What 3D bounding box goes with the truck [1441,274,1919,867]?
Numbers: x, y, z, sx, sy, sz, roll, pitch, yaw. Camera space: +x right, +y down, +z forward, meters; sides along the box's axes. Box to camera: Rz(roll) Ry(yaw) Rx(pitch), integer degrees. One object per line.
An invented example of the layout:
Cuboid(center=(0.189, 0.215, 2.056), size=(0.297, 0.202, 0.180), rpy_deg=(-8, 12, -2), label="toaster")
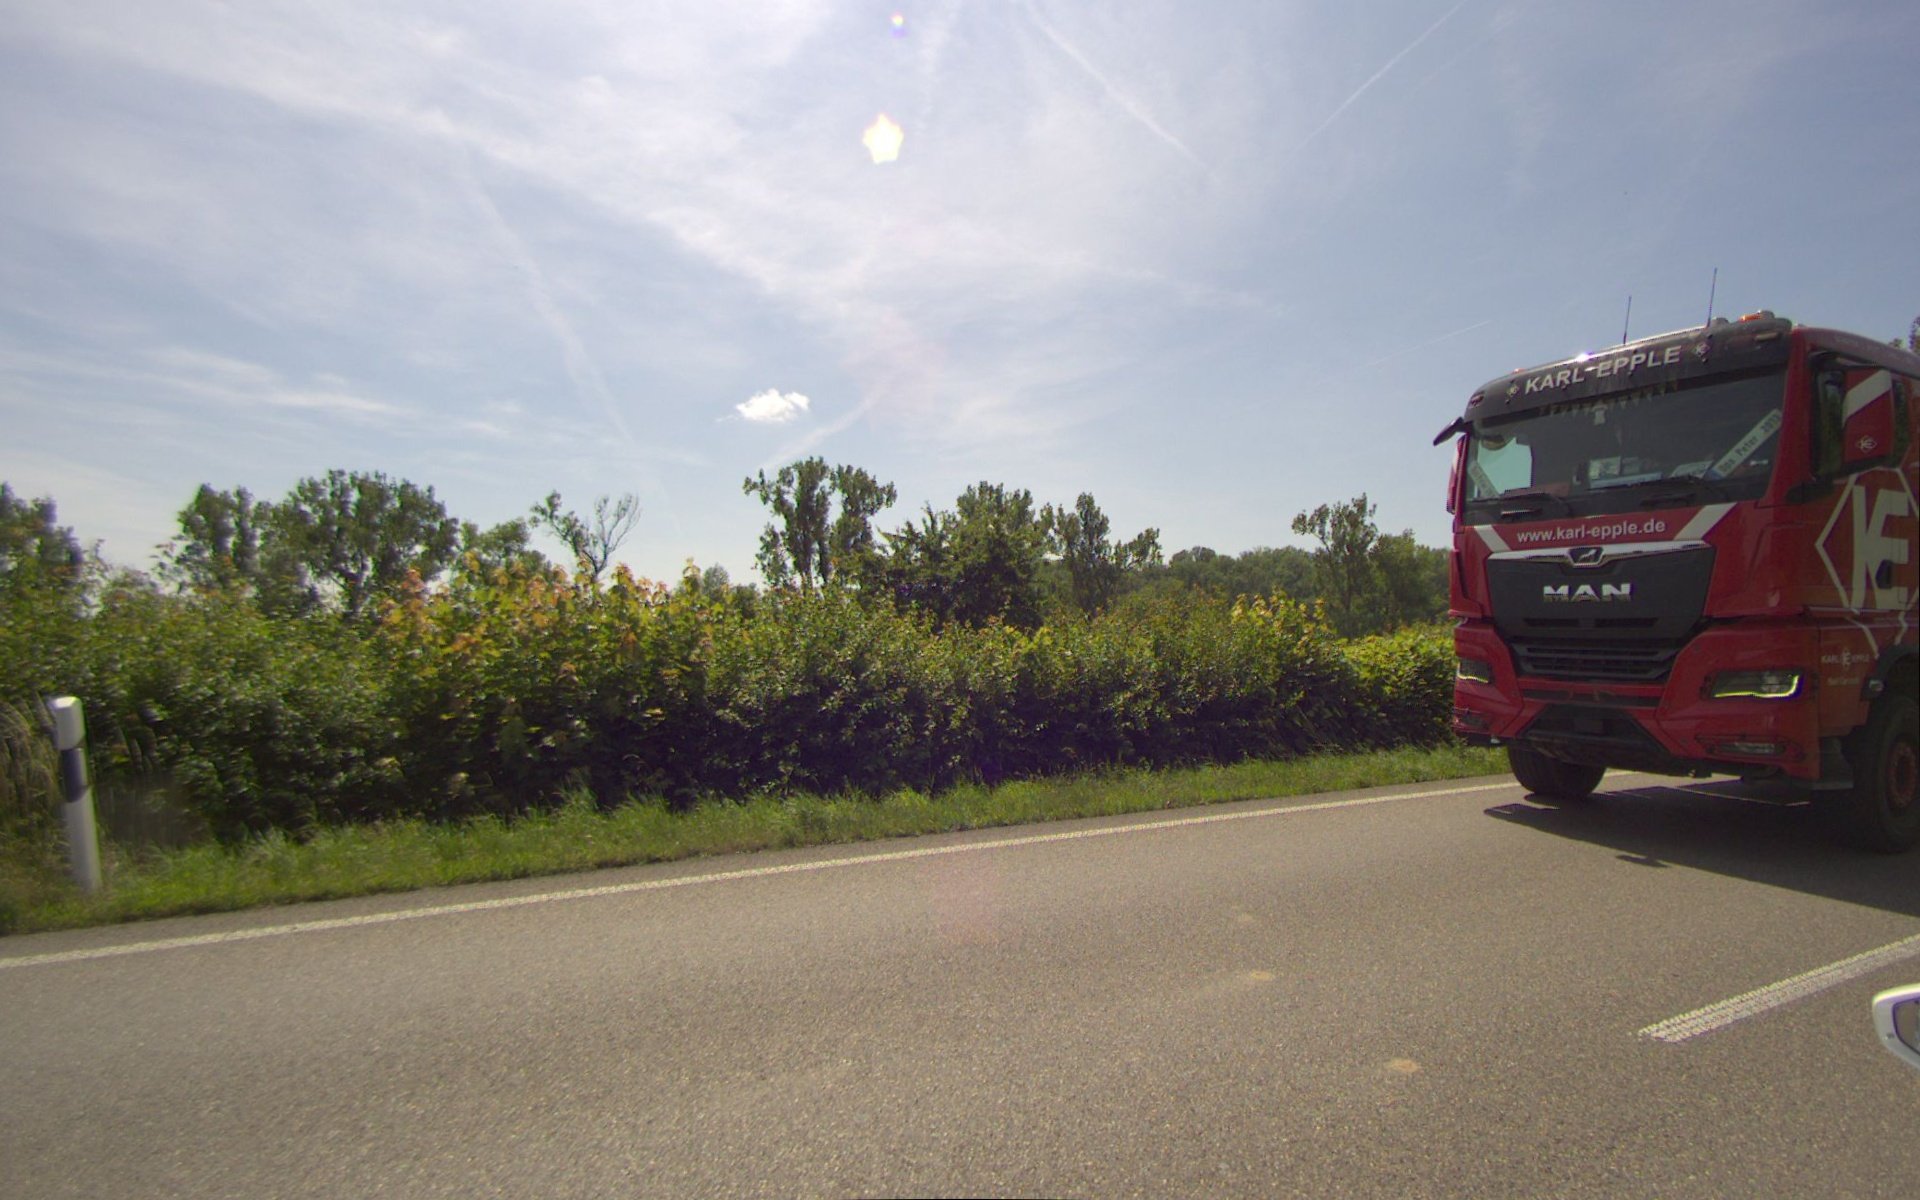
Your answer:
Cuboid(center=(10.024, -0.036, 9.958), size=(12.473, 3.498, 2.543), rpy_deg=(1, -1, -28), label="truck")
